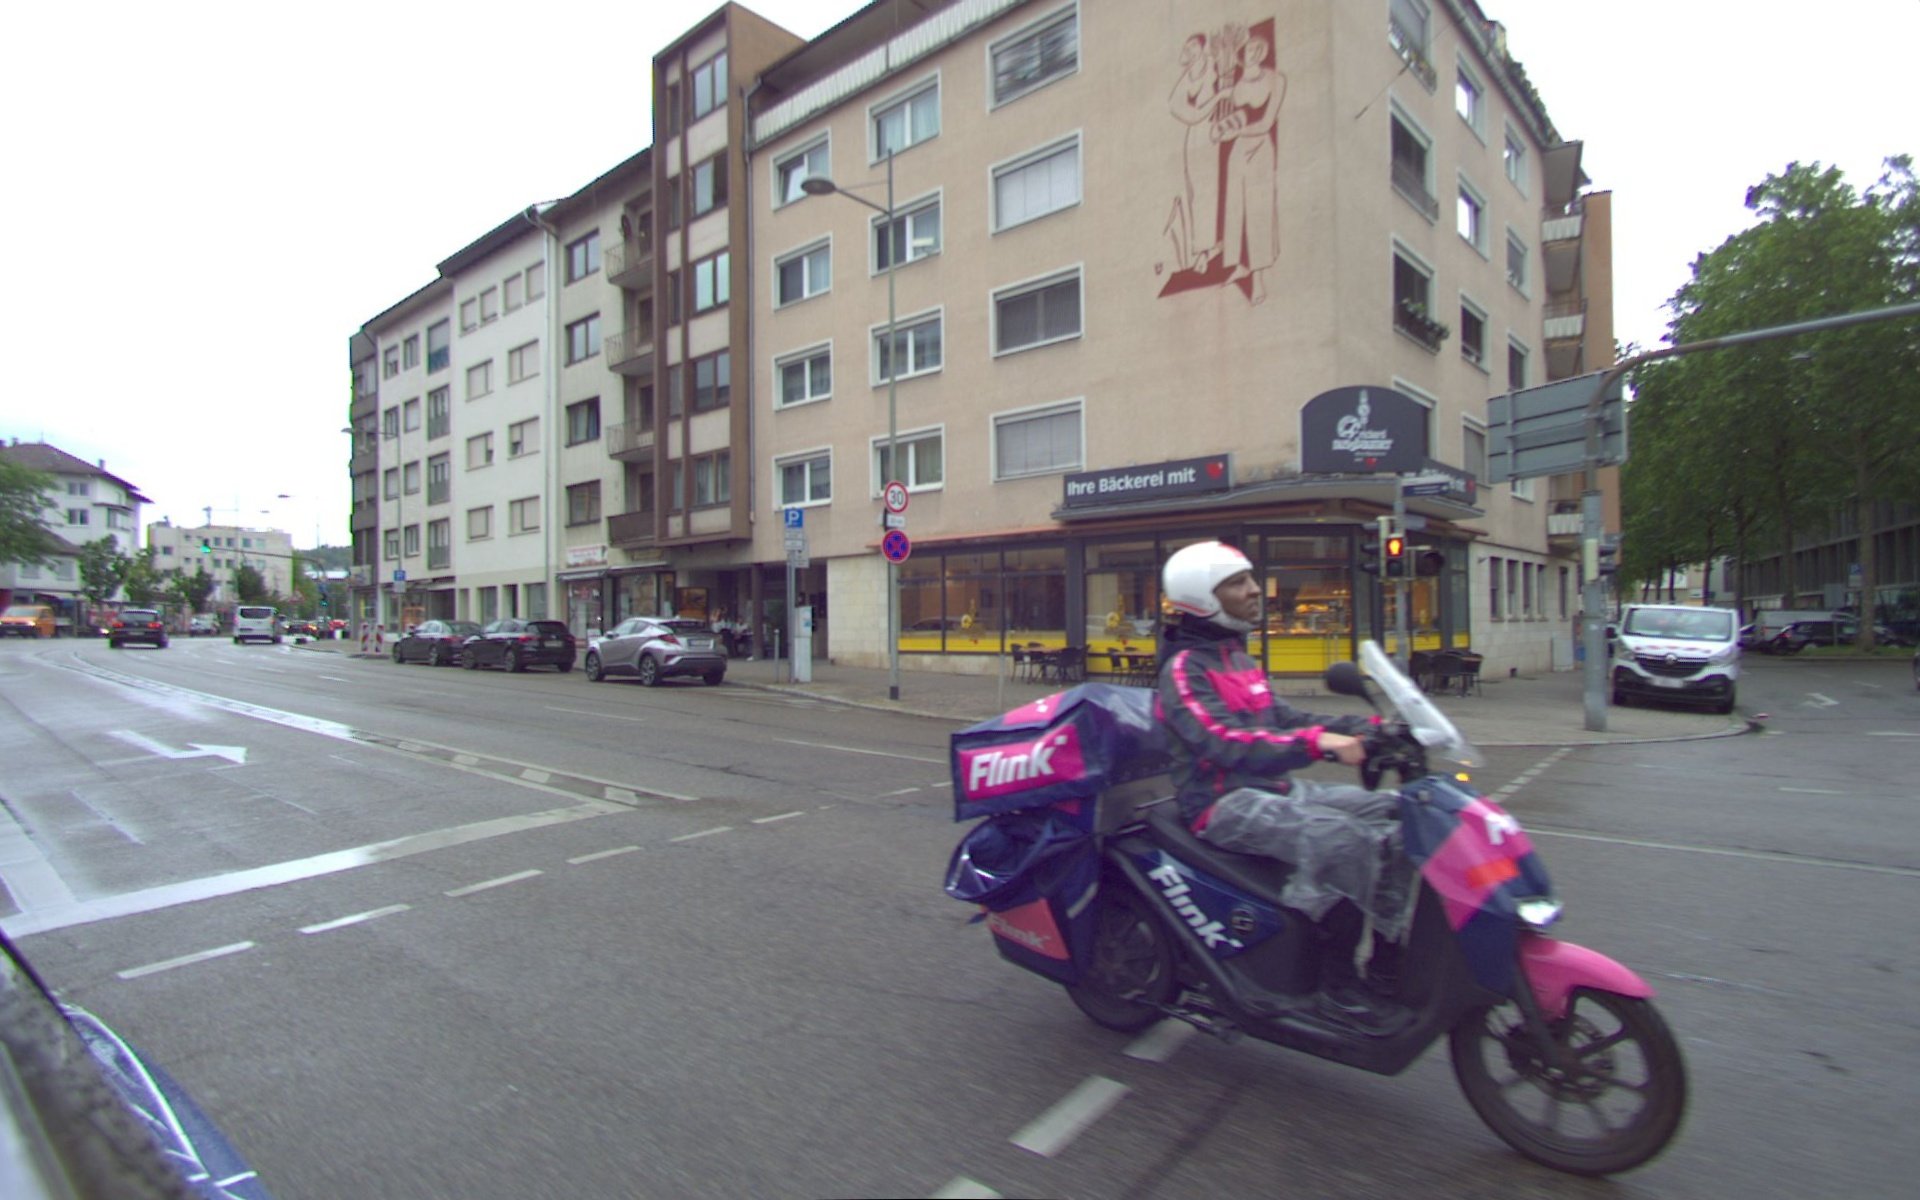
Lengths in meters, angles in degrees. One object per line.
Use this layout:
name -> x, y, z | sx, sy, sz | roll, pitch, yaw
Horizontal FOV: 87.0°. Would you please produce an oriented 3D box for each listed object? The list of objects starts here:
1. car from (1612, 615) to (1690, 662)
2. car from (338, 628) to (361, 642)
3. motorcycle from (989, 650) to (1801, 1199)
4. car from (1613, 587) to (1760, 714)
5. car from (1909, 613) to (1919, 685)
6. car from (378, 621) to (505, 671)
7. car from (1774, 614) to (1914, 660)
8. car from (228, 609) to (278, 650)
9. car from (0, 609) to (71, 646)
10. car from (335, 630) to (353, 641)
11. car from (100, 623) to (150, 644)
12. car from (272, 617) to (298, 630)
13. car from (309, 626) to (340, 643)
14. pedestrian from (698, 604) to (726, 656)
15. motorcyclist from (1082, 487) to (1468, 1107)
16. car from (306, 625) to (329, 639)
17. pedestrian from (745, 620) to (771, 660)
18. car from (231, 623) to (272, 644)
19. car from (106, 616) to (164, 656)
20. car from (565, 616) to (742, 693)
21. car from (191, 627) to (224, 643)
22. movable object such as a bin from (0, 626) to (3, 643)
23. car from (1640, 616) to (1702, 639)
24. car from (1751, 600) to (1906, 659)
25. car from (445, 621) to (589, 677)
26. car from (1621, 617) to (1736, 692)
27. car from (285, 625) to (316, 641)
car -> 24.599, 1.323, 36.153 | 1.834, 1.502, 4.220 | 2, 0, 29
car -> -68.426, 3.878, 113.420 | 1.901, 1.485, 4.618 | 3, -3, -28
motorcycle -> 1.111, 0.784, 3.012 | 2.098, 1.200, 0.582 | -1, 0, 37
car -> 14.128, 0.876, 19.646 | 2.043, 2.118, 4.806 | 2, 0, 37
car -> 21.380, 1.029, 20.652 | 2.040, 1.602, 4.604 | -3, -2, 33
car -> -16.770, 1.441, 32.629 | 4.975, 1.488, 1.863 | -1, -2, 40
car -> 36.193, 1.518, 41.598 | 3.986, 1.674, 1.871 | -3, -1, 32
car -> -39.642, 1.627, 56.864 | 2.090, 2.029, 5.143 | -2, 2, -33
car -> -55.385, 1.588, 60.137 | 2.162, 2.102, 5.953 | 0, 0, -24
car -> -86.963, 4.989, 142.900 | 1.804, 1.555, 4.297 | 1, -2, -26
car -> -61.553, 2.454, 74.700 | 1.812, 1.453, 4.013 | -2, 0, -24
car -> -82.160, 2.878, 123.217 | 1.826, 1.485, 4.663 | 1, -2, -25
car -> -57.227, 3.150, 91.160 | 1.698, 1.410, 3.606 | -1, -3, -20
pedestrian -> -7.643, 0.917, 31.209 | 0.667, 1.595, 0.539 | -1, -1, 29
motorcyclist -> 0.980, 0.478, 3.083 | 0.863, 1.504, 0.906 | -1, 0, 37
car -> -70.252, 3.495, 110.734 | 1.799, 1.376, 4.618 | 2, -2, -29
pedestrian -> -6.000, 1.178, 30.092 | 0.663, 1.157, 0.597 | 0, -1, -20
car -> -52.438, 2.480, 74.985 | 1.660, 1.484, 4.013 | 3, -3, -24
car -> -35.604, 1.520, 43.721 | 1.838, 1.659, 4.262 | 2, -2, -39
car -> -7.148, 1.187, 23.332 | 4.632, 1.566, 1.886 | 0, -2, 44
car -> -70.813, 3.241, 95.326 | 1.783, 1.352, 4.013 | -2, 0, -26
movable object such as a bin -> -59.970, 2.148, 62.829 | 0.612, 1.039, 0.533 | 2, -4, -27
car -> 58.996, 2.315, 84.091 | 3.984, 1.674, 1.872 | -3, -1, 30
car -> 37.609, 1.308, 44.008 | 4.753, 2.323, 1.871 | -3, -1, 32
car -> -12.754, 1.352, 29.047 | 4.515, 1.488, 1.973 | -1, -2, 40
car -> 17.266, 1.227, 24.496 | 2.041, 1.566, 4.291 | 2, 0, 33
car -> -63.548, 3.194, 97.572 | 1.955, 1.470, 4.500 | 3, -3, -26
